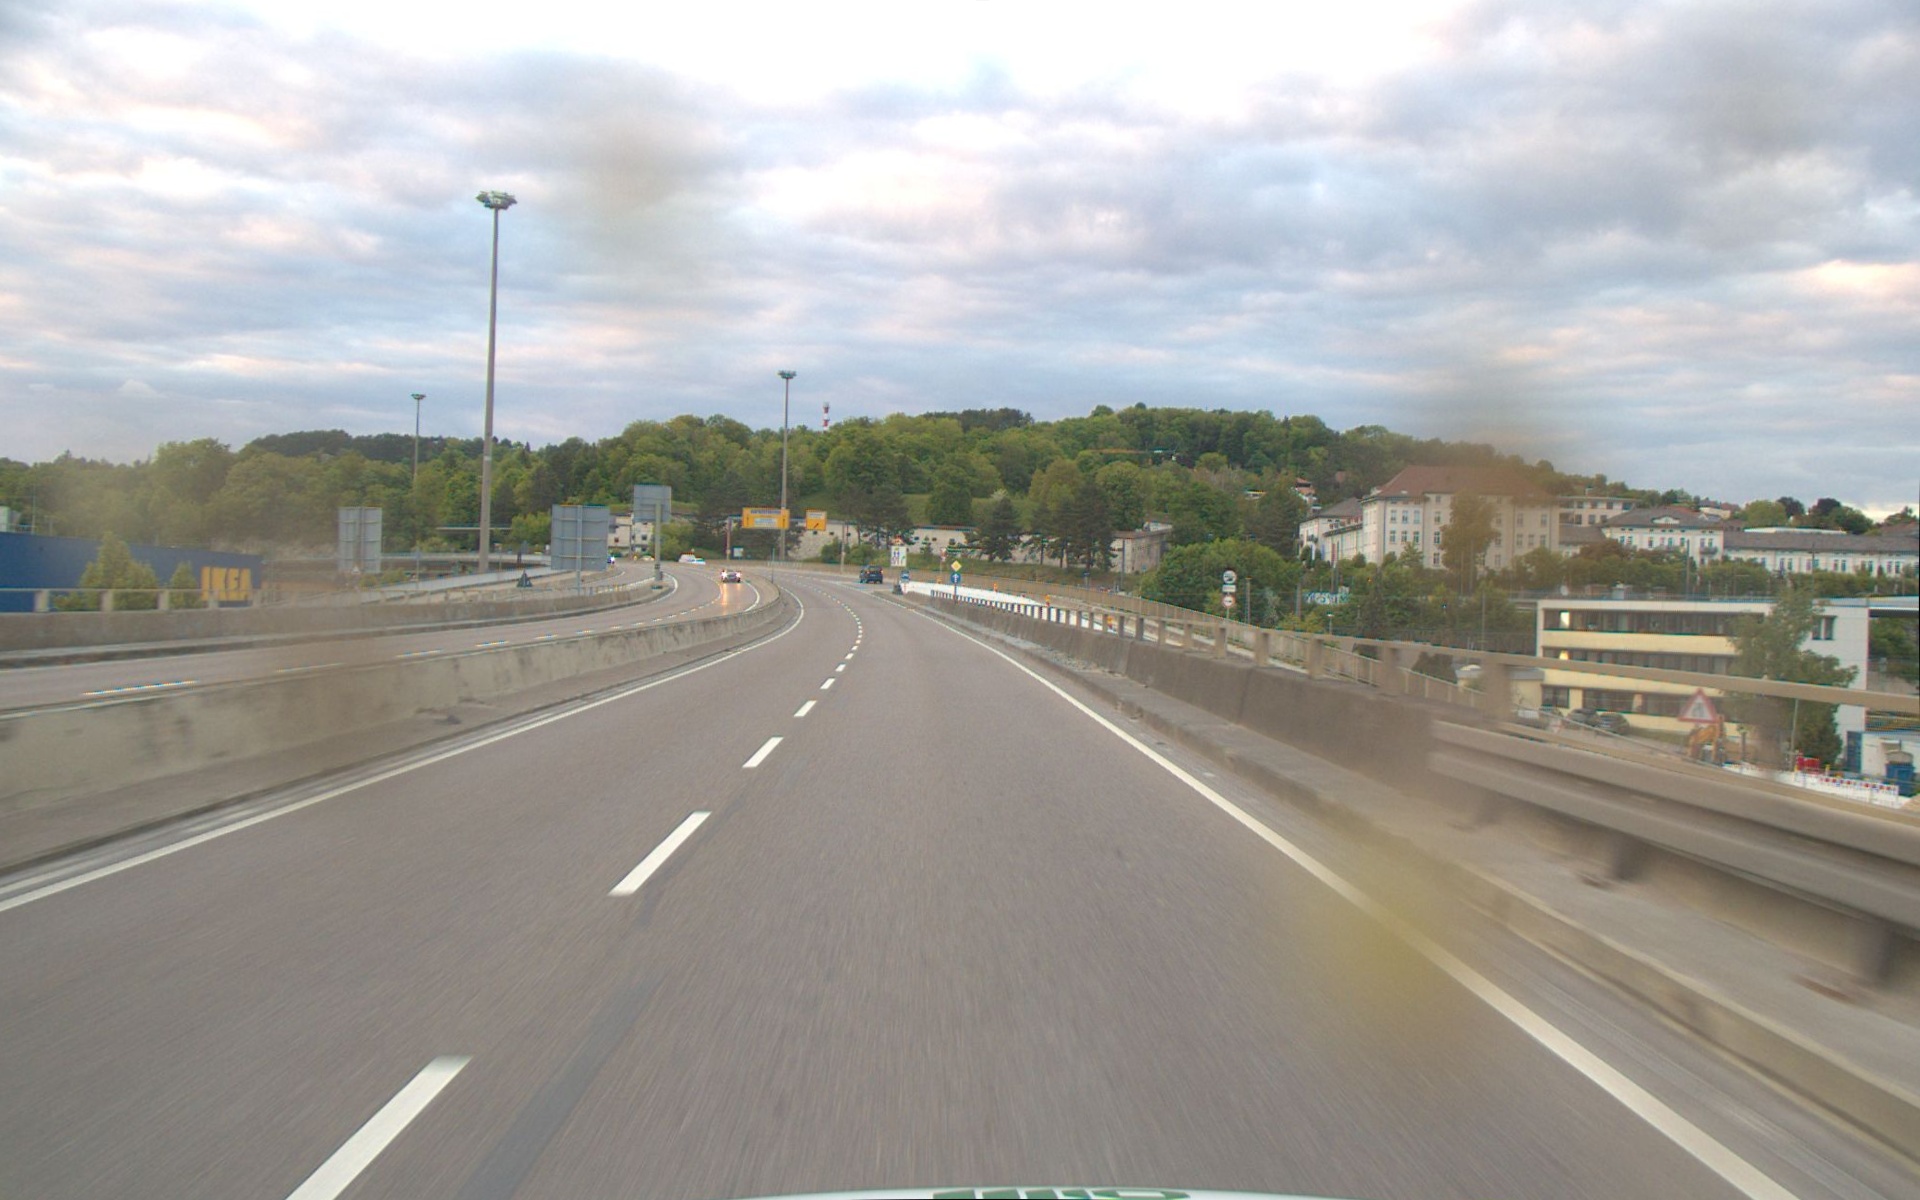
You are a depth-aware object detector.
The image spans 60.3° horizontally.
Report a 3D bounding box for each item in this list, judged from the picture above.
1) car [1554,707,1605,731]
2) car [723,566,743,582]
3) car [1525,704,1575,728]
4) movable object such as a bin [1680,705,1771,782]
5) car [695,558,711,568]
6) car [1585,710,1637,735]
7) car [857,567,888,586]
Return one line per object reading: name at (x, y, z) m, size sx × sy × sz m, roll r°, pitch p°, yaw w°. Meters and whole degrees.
car at (49.384, 9.500, 131.825) m, size 3.955 × 1.592 × 1.810 m, roll 5°, pitch 2°, yaw -36°
car at (-22.007, -2.492, 160.119) m, size 1.796 × 1.506 × 4.277 m, roll 1°, pitch 0°, yaw -10°
car at (48.125, 9.482, 134.928) m, size 3.955 × 1.592 × 1.810 m, roll 5°, pitch 2°, yaw -36°
movable object such as a bin at (51.718, 9.651, 111.847) m, size 2.730 × 4.382 × 4.940 m, roll 7°, pitch 0°, yaw -14°
car at (-38.137, -5.543, 245.477) m, size 1.606 × 1.412 × 3.980 m, roll 0°, pitch 2°, yaw -18°
car at (50.468, 9.516, 128.147) m, size 3.955 × 1.592 × 1.810 m, roll 5°, pitch 2°, yaw -36°
car at (-8.964, -2.463, 169.924) m, size 2.267 × 1.794 × 4.245 m, roll 2°, pitch 1°, yaw -16°
